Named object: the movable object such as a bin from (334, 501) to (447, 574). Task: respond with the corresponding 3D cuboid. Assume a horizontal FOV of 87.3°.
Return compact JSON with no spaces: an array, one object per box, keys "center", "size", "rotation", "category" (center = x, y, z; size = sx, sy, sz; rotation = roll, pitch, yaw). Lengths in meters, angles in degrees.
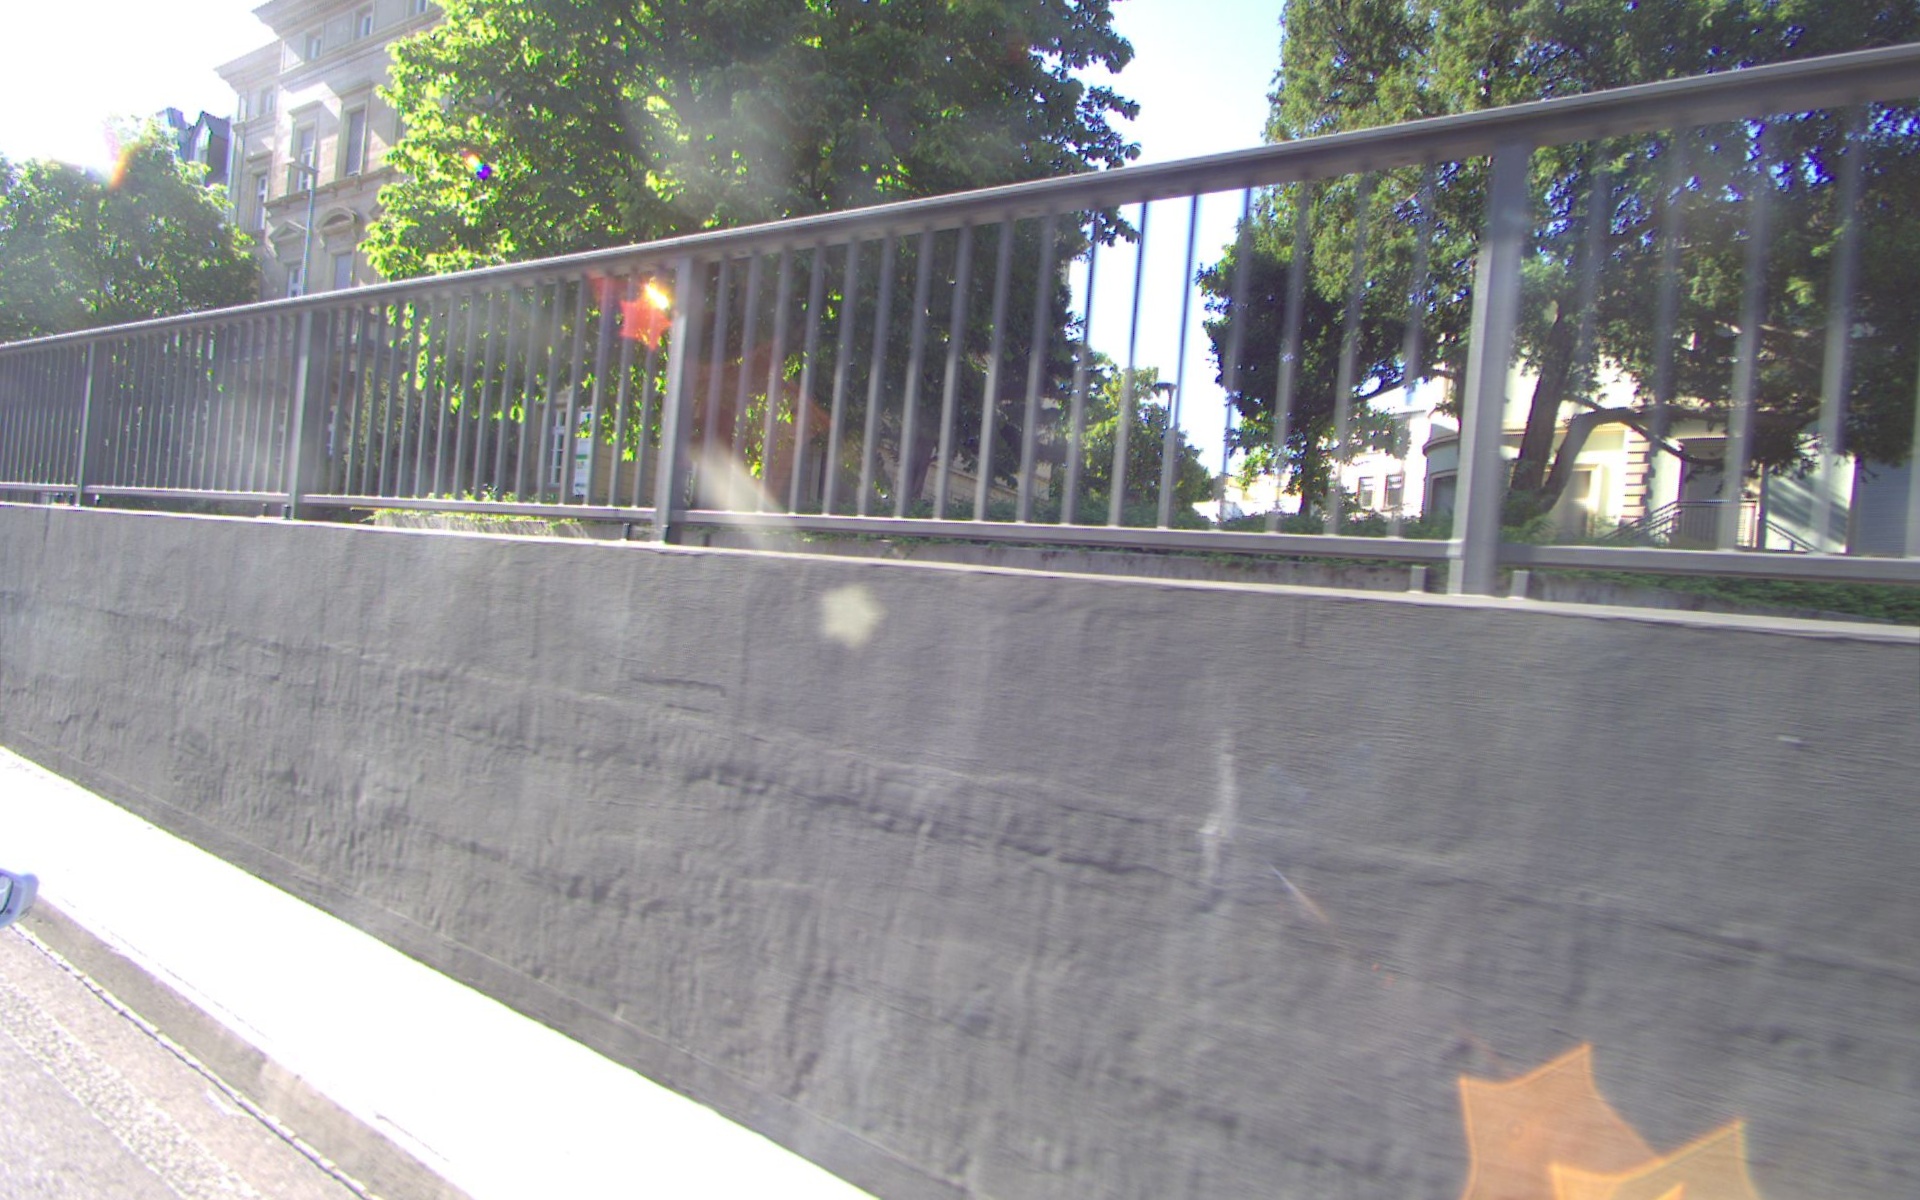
[{"center":[-11.744,-1.279,20.805],"size":[1.383,1.344,1.448],"rotation":[6,5,14],"category":"movable object such as a bin"}]
